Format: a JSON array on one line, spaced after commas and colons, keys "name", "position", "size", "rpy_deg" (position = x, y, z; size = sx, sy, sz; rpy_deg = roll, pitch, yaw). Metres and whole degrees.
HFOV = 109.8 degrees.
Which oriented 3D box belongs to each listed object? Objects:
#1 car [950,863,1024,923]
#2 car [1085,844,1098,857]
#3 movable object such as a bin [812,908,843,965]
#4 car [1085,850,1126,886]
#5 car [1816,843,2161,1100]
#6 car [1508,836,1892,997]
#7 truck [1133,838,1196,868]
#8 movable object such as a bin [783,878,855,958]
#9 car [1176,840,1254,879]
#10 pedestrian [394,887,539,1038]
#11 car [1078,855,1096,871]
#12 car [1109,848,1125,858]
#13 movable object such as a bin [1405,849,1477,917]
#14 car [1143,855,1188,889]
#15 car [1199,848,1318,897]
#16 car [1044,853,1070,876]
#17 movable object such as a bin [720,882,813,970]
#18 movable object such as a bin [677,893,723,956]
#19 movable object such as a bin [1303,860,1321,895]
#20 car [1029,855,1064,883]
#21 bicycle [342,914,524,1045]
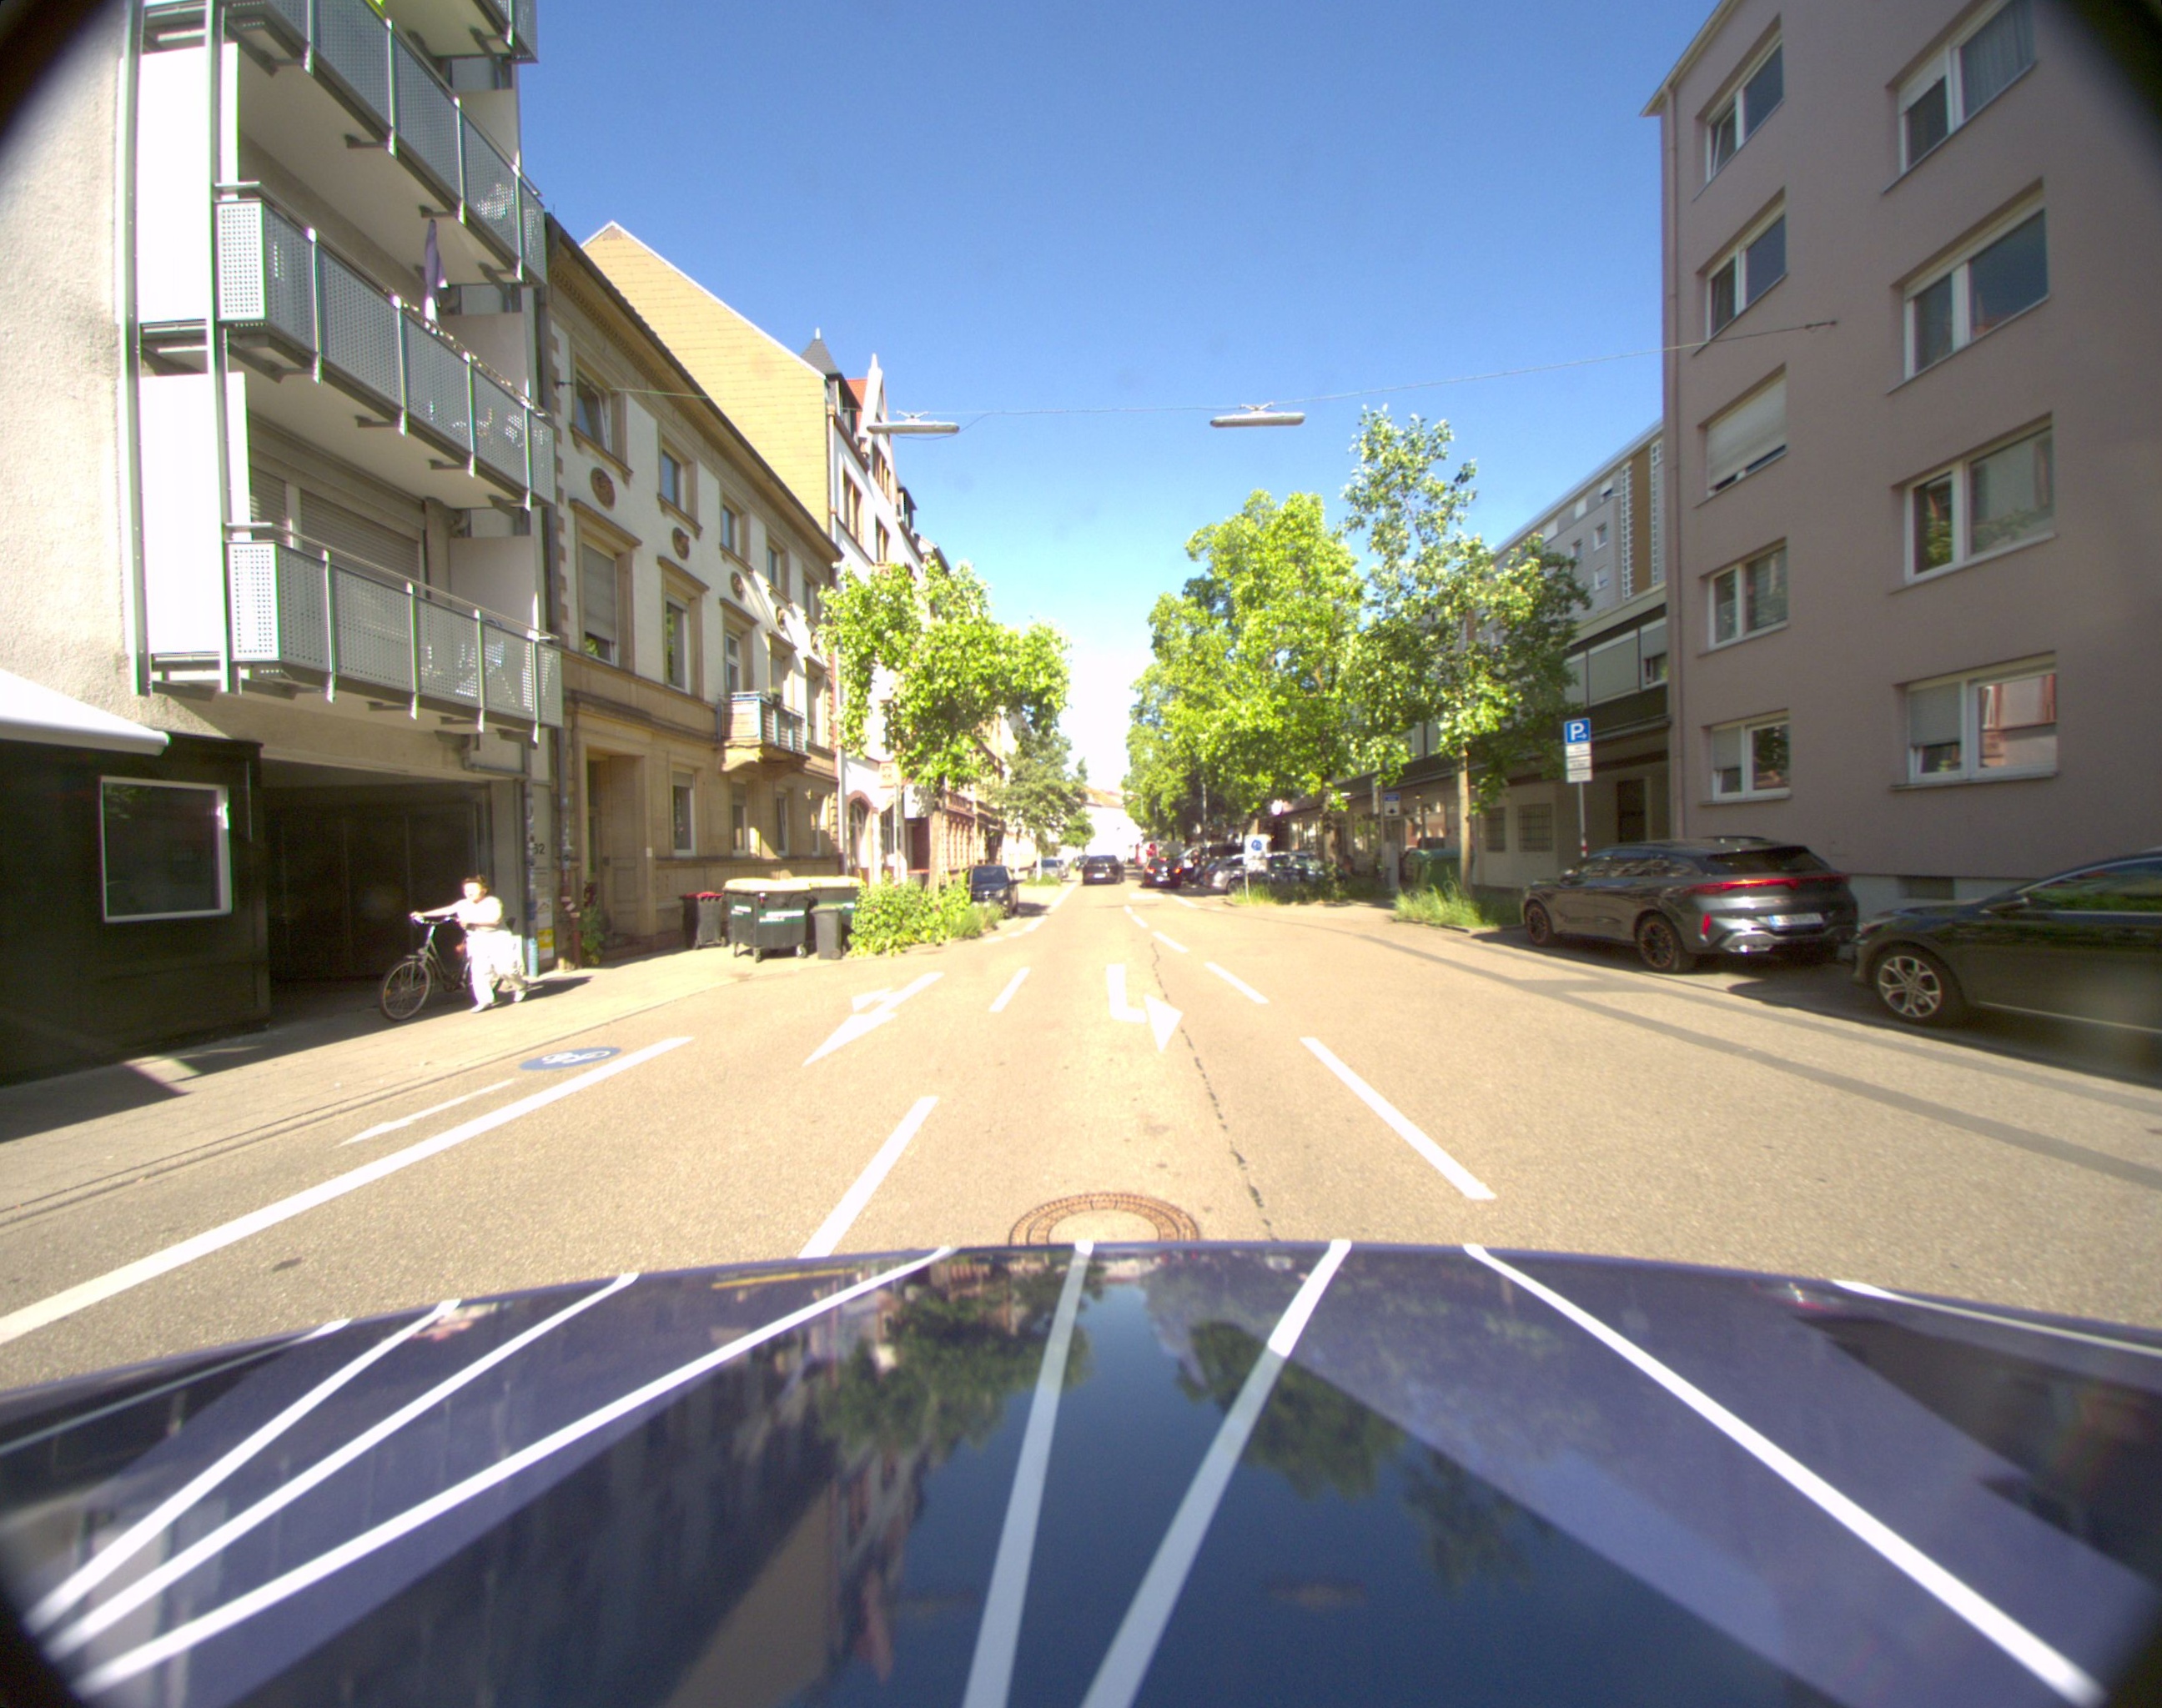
[{"name": "car", "position": [-2.585, 1.042, 21.488], "size": [1.551, 1.483, 3.351], "rpy_deg": [-2, 0, 1]}, {"name": "car", "position": [1.699, -0.560, 124.784], "size": [1.998, 2.002, 4.000], "rpy_deg": [-2, 0, 2]}, {"name": "movable object such as a bin", "position": [-4.349, 1.404, 13.041], "size": [0.401, 0.916, 0.484], "rpy_deg": [0, 2, -6]}, {"name": "car", "position": [1.300, 0.695, 40.356], "size": [1.994, 1.599, 4.260], "rpy_deg": [-3, 3, 2]}, {"name": "car", "position": [7.596, 0.722, 4.837], "size": [1.821, 1.499, 4.246], "rpy_deg": [-4, 0, 3]}, {"name": "car", "position": [7.768, 0.666, 10.186], "size": [1.821, 1.583, 4.142], "rpy_deg": [-5, 0, 3]}, {"name": "truck", "position": [7.638, -0.128, 69.746], "size": [5.321, 2.581, 1.998], "rpy_deg": [-2, 1, -8]}, {"name": "movable object such as a bin", "position": [-4.838, 1.144, 14.016], "size": [0.960, 1.341, 1.066], "rpy_deg": [-1, 2, -37]}, {"name": "car", "position": [7.481, 0.318, 42.720], "size": [3.996, 2.020, 2.000], "rpy_deg": [-2, 1, 2]}, {"name": "pedestrian", "position": [-6.841, 1.164, 8.512], "size": [0.825, 1.529, 0.947], "rpy_deg": [2, 1, 2]}, {"name": "car", "position": [0.613, 0.884, 76.250], "size": [1.653, 1.447, 3.290], "rpy_deg": [-2, 0, 2]}, {"name": "car", "position": [7.230, -0.190, 152.506], "size": [1.996, 2.002, 4.005], "rpy_deg": [-1, 0, 19]}, {"name": "movable object such as a bin", "position": [8.454, 0.665, 17.912], "size": [1.246, 1.536, 1.019], "rpy_deg": [-2, 1, 6]}, {"name": "car", "position": [3.919, 0.791, 35.823], "size": [1.867, 1.455, 4.001], "rpy_deg": [-2, 0, 4]}, {"name": "car", "position": [6.605, 0.674, 28.625], "size": [3.996, 1.665, 2.000], "rpy_deg": [-2, 0, 2]}, {"name": "car", "position": [-1.664, 0.716, 53.317], "size": [1.653, 1.483, 3.290], "rpy_deg": [-2, 0, 1]}, {"name": "movable object such as a bin", "position": [-5.361, 1.180, 12.948], "size": [1.212, 1.318, 1.052], "rpy_deg": [2, 3, 44]}, {"name": "movable object such as a bin", "position": [-7.070, 1.293, 14.095], "size": [0.615, 1.075, 0.568], "rpy_deg": [2, 3, 43]}, {"name": "movable object such as a bin", "position": [8.099, 0.821, 26.603], "size": [0.488, 1.218, 0.409], "rpy_deg": [-2, 1, 2]}, {"name": "car", "position": [-1.948, 0.819, 44.005], "size": [1.759, 1.492, 3.949], "rpy_deg": [-2, 0, 1]}, {"name": "bicycle", "position": [-6.997, 1.301, 8.333], "size": [0.402, 1.126, 1.792], "rpy_deg": [0, 0, 2]}]
